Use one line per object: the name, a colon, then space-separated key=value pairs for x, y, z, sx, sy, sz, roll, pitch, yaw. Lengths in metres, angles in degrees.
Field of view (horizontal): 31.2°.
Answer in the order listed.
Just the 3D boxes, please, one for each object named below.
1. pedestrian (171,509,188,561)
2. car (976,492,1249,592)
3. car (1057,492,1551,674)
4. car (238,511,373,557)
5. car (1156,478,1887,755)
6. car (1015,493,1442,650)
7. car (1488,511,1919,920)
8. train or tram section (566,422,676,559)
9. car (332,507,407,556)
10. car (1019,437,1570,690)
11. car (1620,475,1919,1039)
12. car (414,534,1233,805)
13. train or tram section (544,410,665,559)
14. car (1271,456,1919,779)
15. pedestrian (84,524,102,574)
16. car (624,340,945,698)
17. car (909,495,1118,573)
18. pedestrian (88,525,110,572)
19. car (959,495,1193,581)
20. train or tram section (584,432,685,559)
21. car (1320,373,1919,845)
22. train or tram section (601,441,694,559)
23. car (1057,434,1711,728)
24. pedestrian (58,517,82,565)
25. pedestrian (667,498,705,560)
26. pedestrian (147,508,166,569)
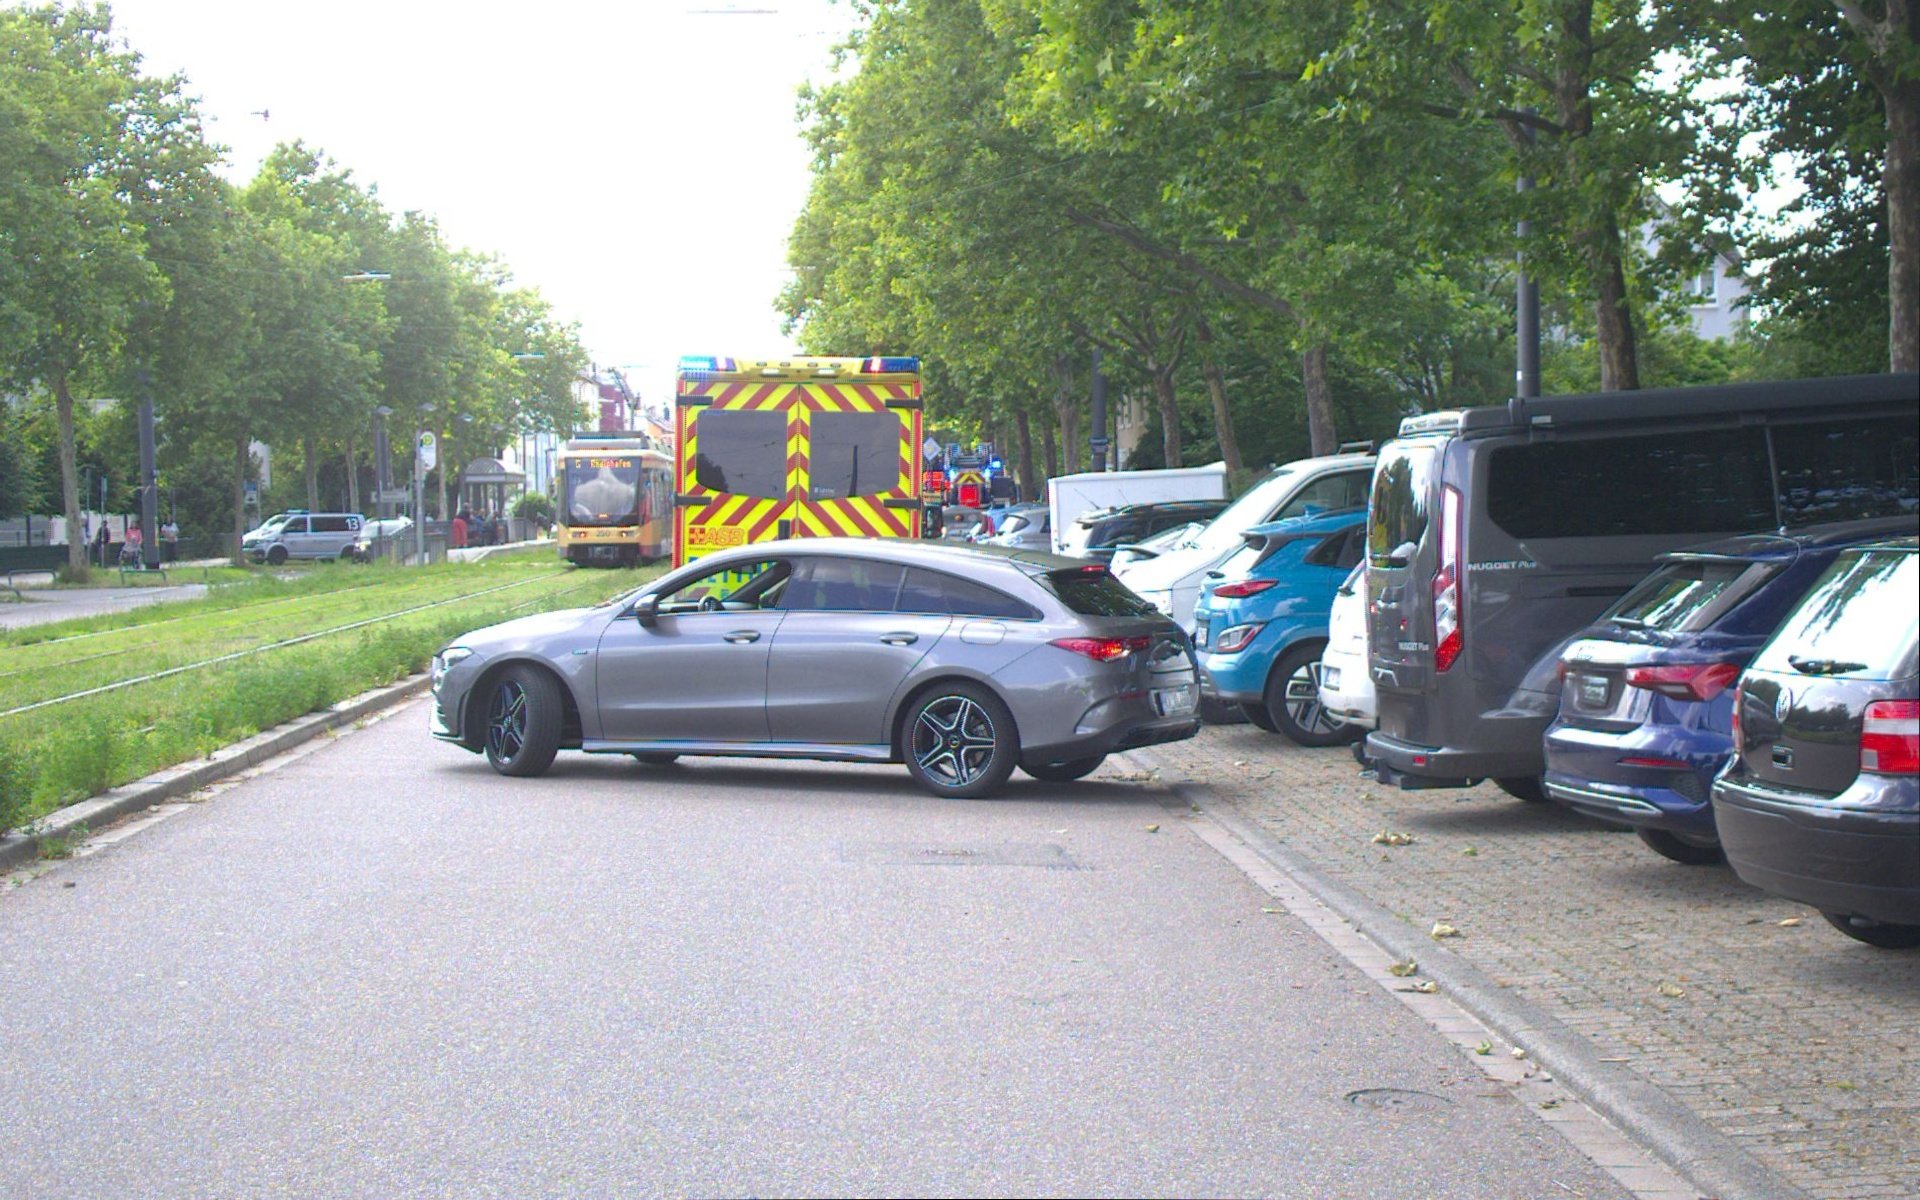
pedestrian: x=-27.285 y=-2.276 z=120.150 sx=0.466 sy=1.822 sz=0.423 roll=-1 pitch=1 yaw=-4
car: x=2.663 y=-1.036 z=60.733 sx=4.545 sy=1.603 sz=1.856 roll=-2 pitch=1 yaw=-6
car: x=3.355 y=-0.192 z=34.033 sx=4.545 sy=1.603 sz=1.856 roll=-2 pitch=1 yaw=-6
car: x=-24.518 y=-2.477 z=128.943 sx=4.615 sy=1.627 sz=1.882 roll=-2 pitch=2 yaw=-41
car: x=3.758 y=0.078 z=23.439 sx=4.545 sy=1.654 sz=1.856 roll=-2 pitch=1 yaw=-6
car: x=3.017 y=-0.342 z=39.182 sx=4.545 sy=1.603 sz=1.856 roll=-2 pitch=1 yaw=-6
car: x=4.282 y=0.373 z=13.812 sx=3.965 sy=1.489 sz=1.756 roll=-2 pitch=1 yaw=-2
train or tram section: x=-9.430 y=-2.993 z=96.147 sx=2.511 sy=3.572 sz=7.446 roll=-2 pitch=1 yaw=-2
car: x=-20.254 y=-2.362 z=118.066 sx=1.993 sy=1.552 sz=4.371 roll=-2 pitch=2 yaw=-3
car: x=2.917 y=-0.343 z=30.543 sx=4.545 sy=2.036 sz=1.856 roll=-2 pitch=1 yaw=-6
car: x=4.348 y=0.362 z=11.035 sx=3.964 sy=1.600 sz=1.757 roll=-2 pitch=1 yaw=-12
car: x=-0.802 y=0.345 z=20.183 sx=4.458 sy=1.381 sz=1.765 roll=2 pitch=1 yaw=22
train or tram section: x=-9.110 y=-2.906 z=88.721 sx=2.511 sy=3.572 sz=7.446 roll=-2 pitch=1 yaw=-2
car: x=4.299 y=0.061 z=20.918 sx=4.545 sy=1.760 sz=1.856 roll=-2 pitch=1 yaw=-2
pedestrian: x=-25.882 y=-1.517 z=102.645 sx=0.421 sy=1.468 sz=0.467 roll=-1 pitch=1 yaw=-7
car: x=-1.526 y=-0.757 z=32.441 sx=2.641 sy=2.956 sz=6.300 roll=2 pitch=1 yaw=-1
car: x=1.209 y=-1.517 z=78.782 sx=4.545 sy=1.603 sz=1.856 roll=-2 pitch=1 yaw=-6
pedestrian: x=-26.163 y=-1.566 z=104.473 sx=0.422 sy=1.409 sz=0.467 roll=-1 pitch=2 yaw=23
car: x=2.362 y=-1.277 z=70.578 sx=4.545 sy=1.603 sz=1.856 roll=-2 pitch=1 yaw=-6
train or tram section: x=-9.742 y=-3.081 z=103.587 sx=2.511 sy=3.572 sz=7.446 roll=-2 pitch=1 yaw=-2
car: x=4.208 y=-0.016 z=16.997 sx=4.545 sy=2.116 sz=1.856 roll=-2 pitch=1 yaw=-2
train or tram section: x=-10.047 y=-3.167 z=111.025 sx=2.511 sy=3.572 sz=7.446 roll=-2 pitch=1 yaw=-2
car: x=3.134 y=-0.168 z=25.955 sx=4.545 sy=1.994 sz=1.856 roll=-2 pitch=1 yaw=-6
pedestrian: x=-29.059 y=-1.932 z=112.287 sx=0.632 sy=1.545 sz=0.622 roll=-1 pitch=1 yaw=-5
pedestrian: x=-6.750 y=-1.741 z=84.660 sx=0.880 sy=1.520 sz=0.751 roll=1 pitch=0 yaw=-2
pedestrian: x=-23.042 y=-1.765 z=98.608 sx=0.421 sy=1.724 sz=0.467 roll=-1 pitch=1 yaw=-7
